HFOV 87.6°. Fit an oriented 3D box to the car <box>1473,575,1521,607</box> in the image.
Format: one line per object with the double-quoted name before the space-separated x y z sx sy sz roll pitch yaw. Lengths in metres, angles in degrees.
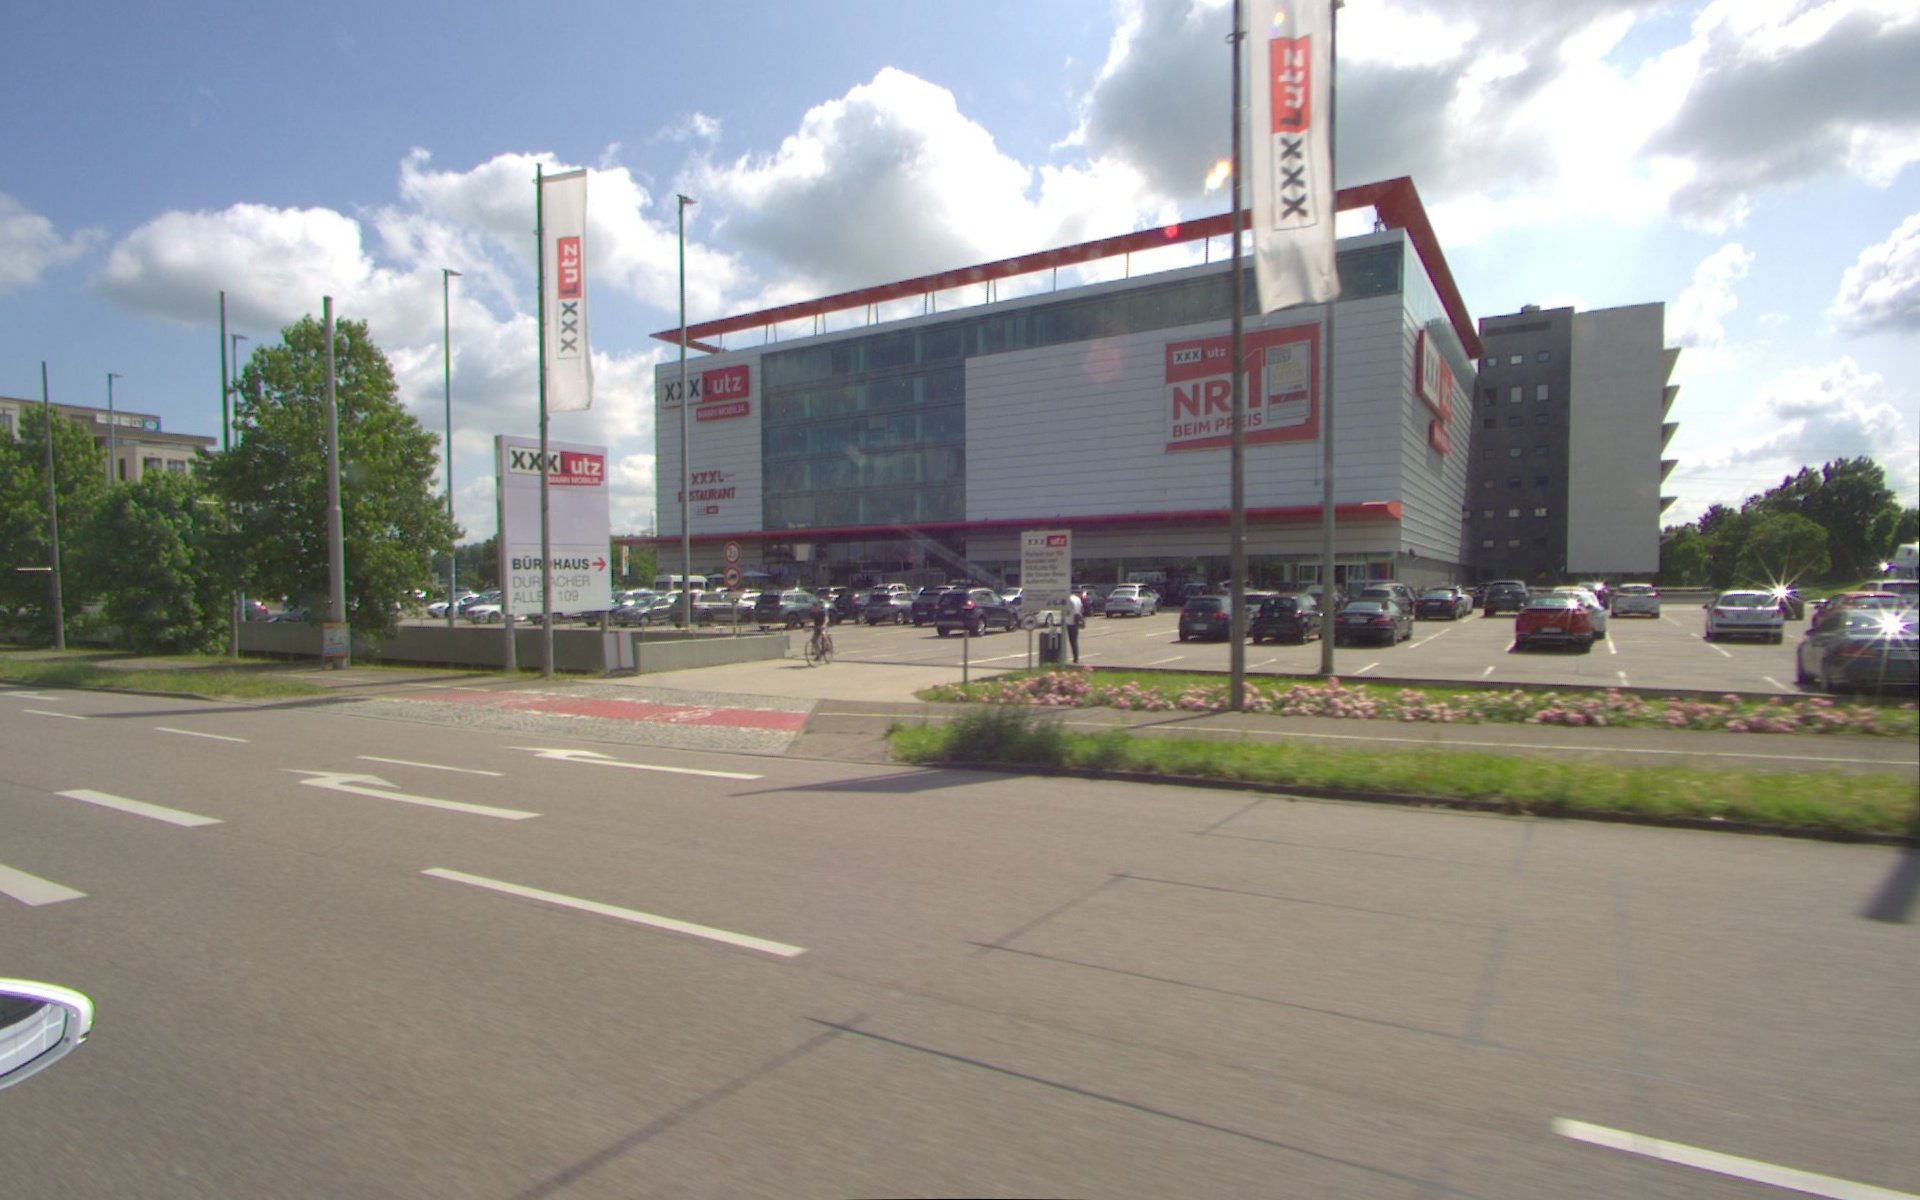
"car" 30.673 -0.502 57.161 1.972 1.762 3.976 1 0 34

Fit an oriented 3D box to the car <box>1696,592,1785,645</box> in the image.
"car" 23.726 0.503 30.569 1.821 1.381 4.345 0 2 34

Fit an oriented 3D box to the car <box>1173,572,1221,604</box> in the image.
"car" 15.635 -0.741 66.030 1.970 2.040 3.980 1 0 31

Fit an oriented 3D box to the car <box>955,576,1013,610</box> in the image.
"car" 1.571 -0.427 63.713 1.971 2.040 3.979 1 0 32

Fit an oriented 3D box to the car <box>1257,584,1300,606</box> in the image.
"car" 20.268 -0.326 63.574 1.694 1.361 3.854 1 0 32

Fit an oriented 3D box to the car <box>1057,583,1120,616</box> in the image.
"car" 6.855 -0.049 53.220 1.825 1.609 4.216 1 2 30

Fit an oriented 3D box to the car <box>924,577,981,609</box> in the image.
"car" -0.461 -0.422 65.645 1.971 2.040 3.979 1 0 32

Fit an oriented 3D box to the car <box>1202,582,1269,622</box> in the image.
"car" 11.639 0.060 42.142 1.670 1.609 4.008 1 1 31

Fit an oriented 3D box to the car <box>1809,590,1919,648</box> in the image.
"car" 26.148 0.477 29.012 1.821 1.447 4.345 1 3 34

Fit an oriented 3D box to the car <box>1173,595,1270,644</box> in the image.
"car" 8.868 0.599 33.687 1.821 1.381 4.345 1 3 34

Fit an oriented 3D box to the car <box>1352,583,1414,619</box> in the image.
"car" 19.228 0.027 45.392 1.826 1.572 4.036 -1 0 34

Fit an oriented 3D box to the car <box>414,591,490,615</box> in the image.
"car" -33.662 0.166 66.462 1.701 1.454 4.174 1 2 32

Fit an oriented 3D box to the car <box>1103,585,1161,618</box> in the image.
"car" 8.848 0.048 51.316 1.679 1.532 4.147 1 2 29

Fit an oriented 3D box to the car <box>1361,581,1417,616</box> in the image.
"car" 21.445 -0.058 49.972 1.865 1.661 3.977 -1 0 34

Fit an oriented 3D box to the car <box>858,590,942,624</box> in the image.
"car" -2.784 0.338 47.323 1.864 1.519 4.352 -1 0 31

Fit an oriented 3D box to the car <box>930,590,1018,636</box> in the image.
"car" 0.591 0.456 38.269 1.715 1.552 4.047 1 2 29

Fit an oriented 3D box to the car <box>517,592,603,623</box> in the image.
"car" -21.706 0.416 54.461 1.970 1.591 3.981 -1 0 30

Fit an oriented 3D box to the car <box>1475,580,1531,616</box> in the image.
"car" 25.314 -0.100 46.633 1.971 1.609 4.216 1 0 32

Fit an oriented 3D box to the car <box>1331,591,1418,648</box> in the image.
"car" 12.793 0.547 30.756 1.659 1.529 4.345 0 2 34

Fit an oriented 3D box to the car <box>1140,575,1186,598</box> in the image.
"car" 13.770 -0.867 67.786 1.714 1.498 4.158 1 0 32

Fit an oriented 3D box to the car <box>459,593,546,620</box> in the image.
"car" -25.862 0.337 56.698 1.864 1.408 4.177 1 2 29

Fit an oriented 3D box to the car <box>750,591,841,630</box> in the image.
"car" -7.291 0.419 44.680 1.738 1.574 4.173 1 2 31

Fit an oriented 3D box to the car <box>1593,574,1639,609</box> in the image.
"car" 35.114 -0.439 53.603 1.972 1.762 3.976 1 0 34

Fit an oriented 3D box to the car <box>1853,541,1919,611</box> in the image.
"car" 46.296 -1.143 48.876 3.080 3.196 7.855 -1 0 35

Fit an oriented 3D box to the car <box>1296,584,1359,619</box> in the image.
"car" 17.179 0.030 46.741 1.971 1.529 3.976 1 2 33

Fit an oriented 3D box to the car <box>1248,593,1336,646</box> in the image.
"car" 10.813 0.585 32.414 1.604 1.462 4.345 1 3 34

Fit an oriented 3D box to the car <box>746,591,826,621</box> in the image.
"car" -8.849 0.297 51.291 1.734 1.483 4.232 1 0 31

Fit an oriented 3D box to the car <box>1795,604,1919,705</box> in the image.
"car" 15.804 0.850 17.152 1.831 1.496 4.347 -1 0 34

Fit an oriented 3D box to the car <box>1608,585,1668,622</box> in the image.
"car" 30.067 0.155 44.524 1.891 1.550 3.981 1 0 30

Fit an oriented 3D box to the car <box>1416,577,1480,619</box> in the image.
"car" 21.484 -0.084 44.018 1.973 1.762 3.976 -1 0 34

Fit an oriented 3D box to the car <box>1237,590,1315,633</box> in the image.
"car" 11.946 0.423 37.677 1.800 1.528 4.140 1 0 33

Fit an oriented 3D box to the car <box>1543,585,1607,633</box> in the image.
"car" 19.965 0.232 32.465 1.580 1.381 4.012 1 3 34

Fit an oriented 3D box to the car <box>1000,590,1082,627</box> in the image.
"car" 3.559 0.332 43.291 1.734 1.447 4.279 2 2 32

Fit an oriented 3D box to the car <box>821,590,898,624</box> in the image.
"car" -4.853 0.308 48.781 1.702 1.484 3.978 1 2 31

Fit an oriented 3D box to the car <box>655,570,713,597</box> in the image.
"car" -20.925 -1.199 76.091 1.971 1.977 3.979 1 0 32

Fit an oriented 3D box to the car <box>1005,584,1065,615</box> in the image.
"car" 4.584 -0.061 60.730 1.972 1.773 3.977 1 1 33

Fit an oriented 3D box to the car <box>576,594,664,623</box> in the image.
"car" -17.411 0.424 51.467 1.663 1.343 4.173 0 2 32

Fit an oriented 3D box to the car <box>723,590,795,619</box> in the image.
"car" -10.502 0.182 52.591 1.591 1.406 3.758 1 2 31

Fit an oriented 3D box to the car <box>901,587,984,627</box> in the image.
"car" -0.739 0.290 45.849 1.787 1.643 4.349 1 2 31

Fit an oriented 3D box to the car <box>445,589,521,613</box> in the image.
"car" -31.174 0.045 65.551 1.865 1.454 4.174 1 2 32

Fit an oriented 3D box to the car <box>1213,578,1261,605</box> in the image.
"car" 17.970 -0.532 64.857 1.970 1.746 3.980 1 0 31

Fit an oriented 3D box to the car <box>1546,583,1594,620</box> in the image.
"car" 25.722 0.054 42.175 1.645 1.471 3.978 1 0 33

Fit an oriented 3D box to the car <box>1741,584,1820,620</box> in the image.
"car" 34.321 0.103 41.987 1.891 1.460 3.982 0 0 30

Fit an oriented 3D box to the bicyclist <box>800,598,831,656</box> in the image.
"bicyclist" -3.620 0.665 25.190 0.605 1.432 0.714 0 1 6

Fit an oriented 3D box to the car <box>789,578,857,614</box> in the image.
"car" -8.266 -0.281 60.717 1.971 2.041 3.977 1 2 32

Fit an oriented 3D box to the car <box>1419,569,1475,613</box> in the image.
"car" 23.642 -0.403 48.527 1.972 2.040 3.978 1 0 33

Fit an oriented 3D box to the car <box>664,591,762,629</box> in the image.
"car" -11.542 0.418 47.009 2.000 1.596 4.350 1 2 31

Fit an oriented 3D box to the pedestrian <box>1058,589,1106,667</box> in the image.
"pedestrian" 2.921 0.658 23.982 0.858 1.806 0.781 0 1 -25

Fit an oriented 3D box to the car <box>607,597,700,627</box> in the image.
"car" -15.194 0.559 49.852 1.738 1.343 4.350 1 2 31

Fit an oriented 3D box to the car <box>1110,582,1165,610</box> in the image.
"car" 10.299 -0.217 57.918 1.681 1.531 4.331 1 0 31

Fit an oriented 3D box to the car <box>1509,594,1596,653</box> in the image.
"car" 16.636 0.604 28.031 1.821 1.381 4.345 1 3 34

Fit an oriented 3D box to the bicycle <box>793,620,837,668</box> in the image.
"bicycle" -3.627 1.087 25.163 0.613 1.082 1.966 0 1 6

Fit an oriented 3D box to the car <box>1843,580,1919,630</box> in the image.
"car" 33.231 0.130 35.690 1.825 1.609 4.216 1 2 30
